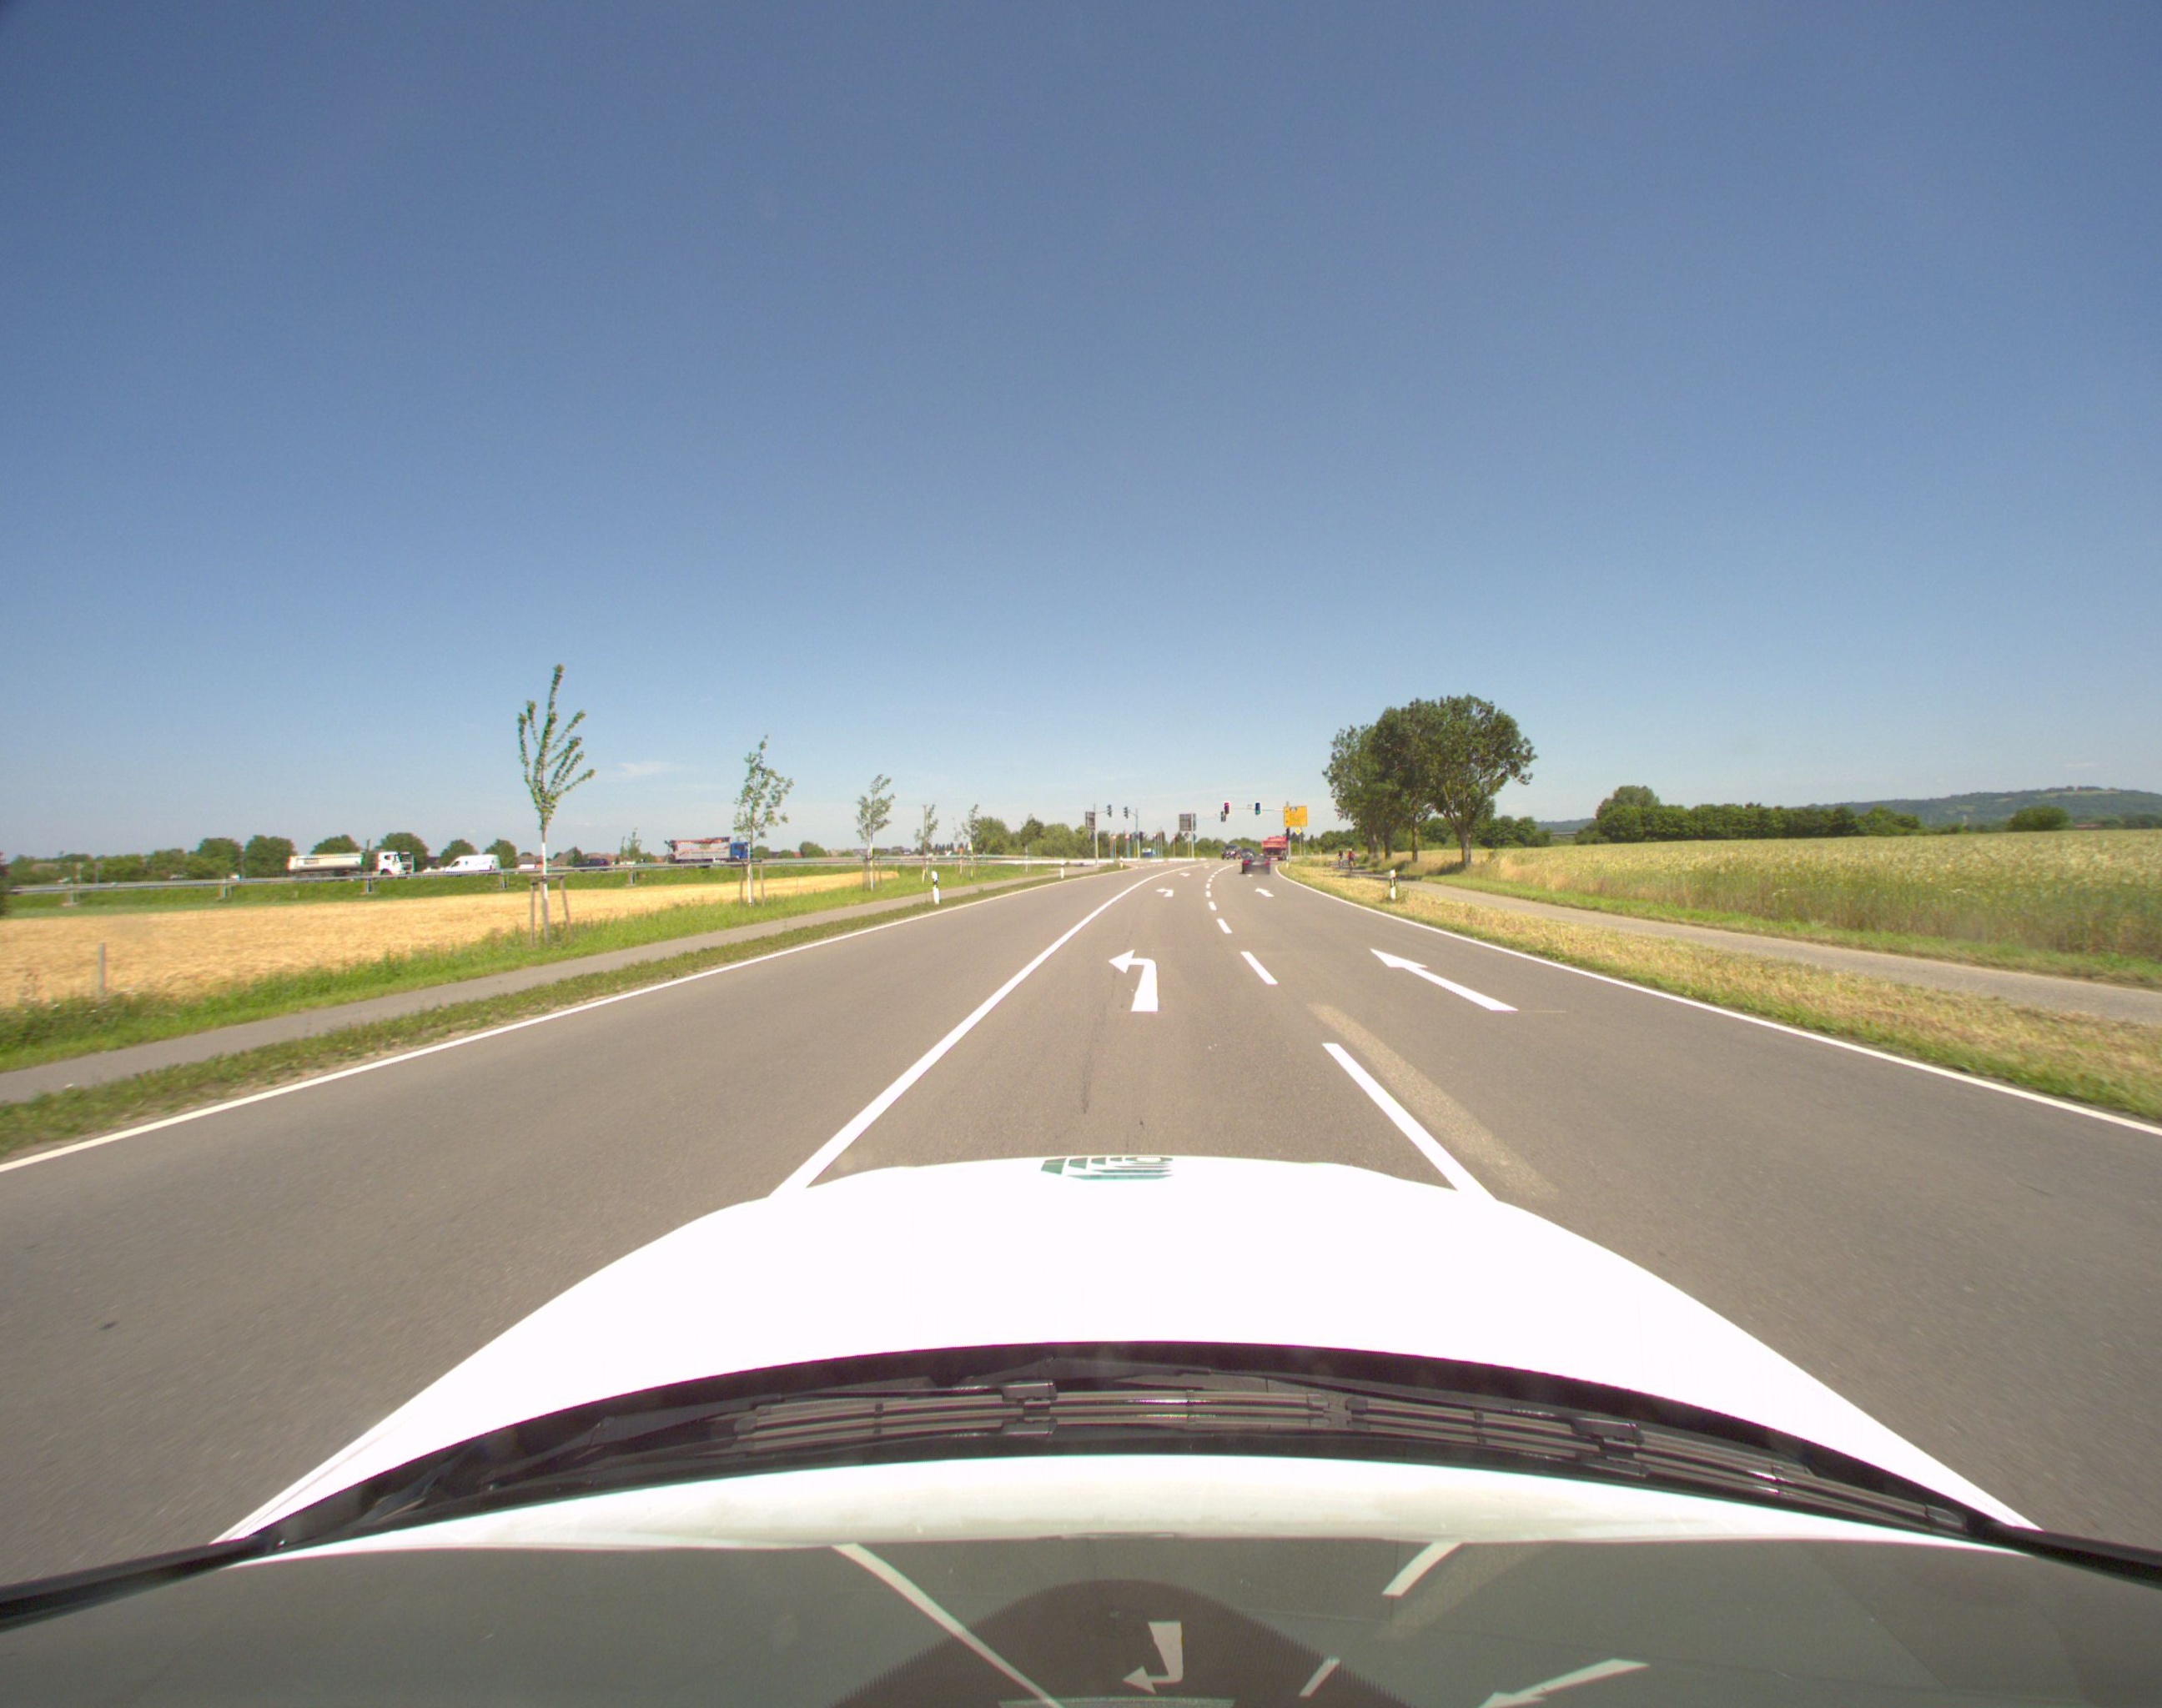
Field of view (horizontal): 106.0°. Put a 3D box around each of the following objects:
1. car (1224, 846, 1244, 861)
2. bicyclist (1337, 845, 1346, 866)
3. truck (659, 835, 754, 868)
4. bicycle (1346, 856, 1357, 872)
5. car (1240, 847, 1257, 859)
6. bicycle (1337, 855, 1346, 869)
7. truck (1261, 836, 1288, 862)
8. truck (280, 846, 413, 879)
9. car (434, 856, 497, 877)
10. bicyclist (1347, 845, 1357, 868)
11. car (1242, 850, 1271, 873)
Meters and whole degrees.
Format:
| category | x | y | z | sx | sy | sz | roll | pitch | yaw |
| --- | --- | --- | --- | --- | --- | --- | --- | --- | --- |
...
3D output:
| category | x | y | z | sx | sy | sz | roll | pitch | yaw |
| --- | --- | --- | --- | --- | --- | --- | --- | --- | --- |
| car | 20.748 | -0.110 | 110.272 | 1.914 | 1.978 | 4.708 | 0 | 0 | 21 |
| bicyclist | 22.109 | 0.121 | 69.119 | 0.582 | 1.734 | 1.178 | 4 | 2 | 20 |
| truck | -45.006 | -0.310 | 98.123 | 10.054 | 3.793 | 2.624 | -1 | 0 | -2 |
| bicycle | 21.479 | 0.799 | 64.636 | 0.693 | 1.210 | 2.060 | 2 | 0 | 16 |
| car | 24.919 | -0.190 | 121.062 | 1.915 | 1.739 | 4.911 | 0 | 0 | 18 |
| bicycle | 22.073 | 0.672 | 69.100 | 0.600 | 1.176 | 2.061 | 2 | 1 | 20 |
| truck | 24.545 | -0.546 | 103.080 | 2.693 | 3.053 | 8.200 | -1 | -1 | 17 |
| truck | -84.130 | 0.990 | 93.490 | 11.966 | 3.614 | 2.978 | -1 | 0 | -4 |
| car | -76.127 | 1.513 | 100.777 | 5.906 | 2.421 | 2.244 | -1 | 0 | -4 |
| bicyclist | 21.511 | 0.223 | 64.652 | 0.623 | 1.782 | 0.982 | 3 | 1 | 16 |
| car | 11.112 | 0.511 | 51.641 | 1.736 | 1.376 | 3.691 | 0 | -1 | 12 |
